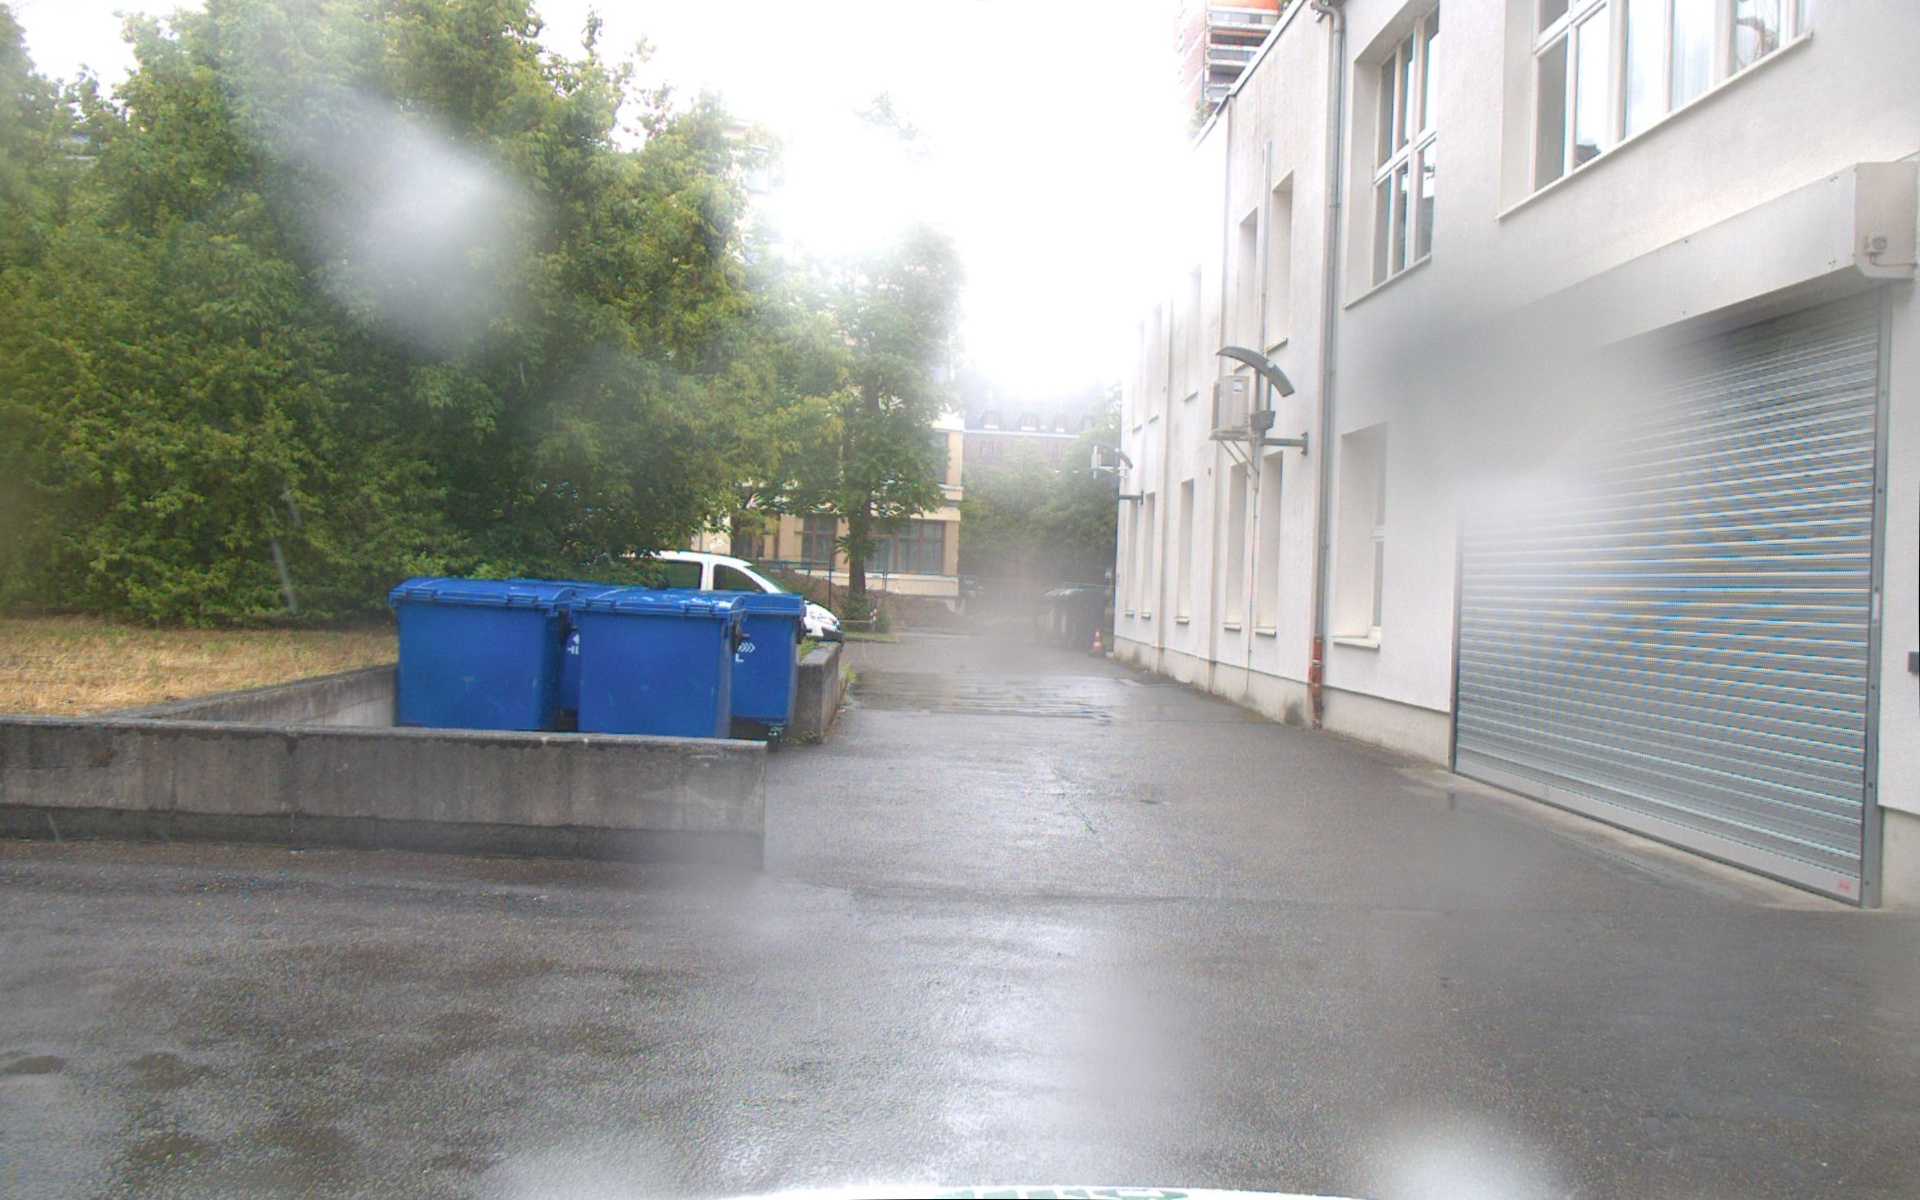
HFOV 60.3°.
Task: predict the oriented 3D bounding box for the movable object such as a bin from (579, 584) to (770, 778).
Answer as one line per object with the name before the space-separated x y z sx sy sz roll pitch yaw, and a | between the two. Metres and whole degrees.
movable object such as a bin | -2.131 0.586 12.521 1.178 1.360 1.117 2 0 2

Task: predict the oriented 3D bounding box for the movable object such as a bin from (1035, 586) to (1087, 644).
movable object such as a bin | 2.680 0.403 43.929 1.191 1.462 1.258 2 -2 -4

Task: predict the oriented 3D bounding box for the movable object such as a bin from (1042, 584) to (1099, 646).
movable object such as a bin | 2.730 0.390 40.917 1.191 1.462 1.293 2 -2 -4

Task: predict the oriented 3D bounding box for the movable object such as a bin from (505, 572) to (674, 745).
movable object such as a bin | -3.130 0.474 14.094 1.197 1.360 1.006 2 1 -2

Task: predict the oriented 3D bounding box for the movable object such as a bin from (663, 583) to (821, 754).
movable object such as a bin | -1.834 0.557 14.126 1.197 1.360 1.006 2 1 -2

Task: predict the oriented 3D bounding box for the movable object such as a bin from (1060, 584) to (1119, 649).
movable object such as a bin | 3.066 0.403 39.244 1.191 1.462 1.234 2 -2 -4

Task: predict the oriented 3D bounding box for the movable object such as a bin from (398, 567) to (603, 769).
movable object such as a bin | -3.423 0.479 12.437 1.179 1.360 1.116 4 2 -2

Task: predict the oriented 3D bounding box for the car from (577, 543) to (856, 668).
car | -4.264 0.076 29.550 4.684 2.048 2.000 1 1 -2

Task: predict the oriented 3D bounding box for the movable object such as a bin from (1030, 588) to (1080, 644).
movable object such as a bin | 2.595 0.442 45.304 1.191 1.462 1.258 2 -2 -4
